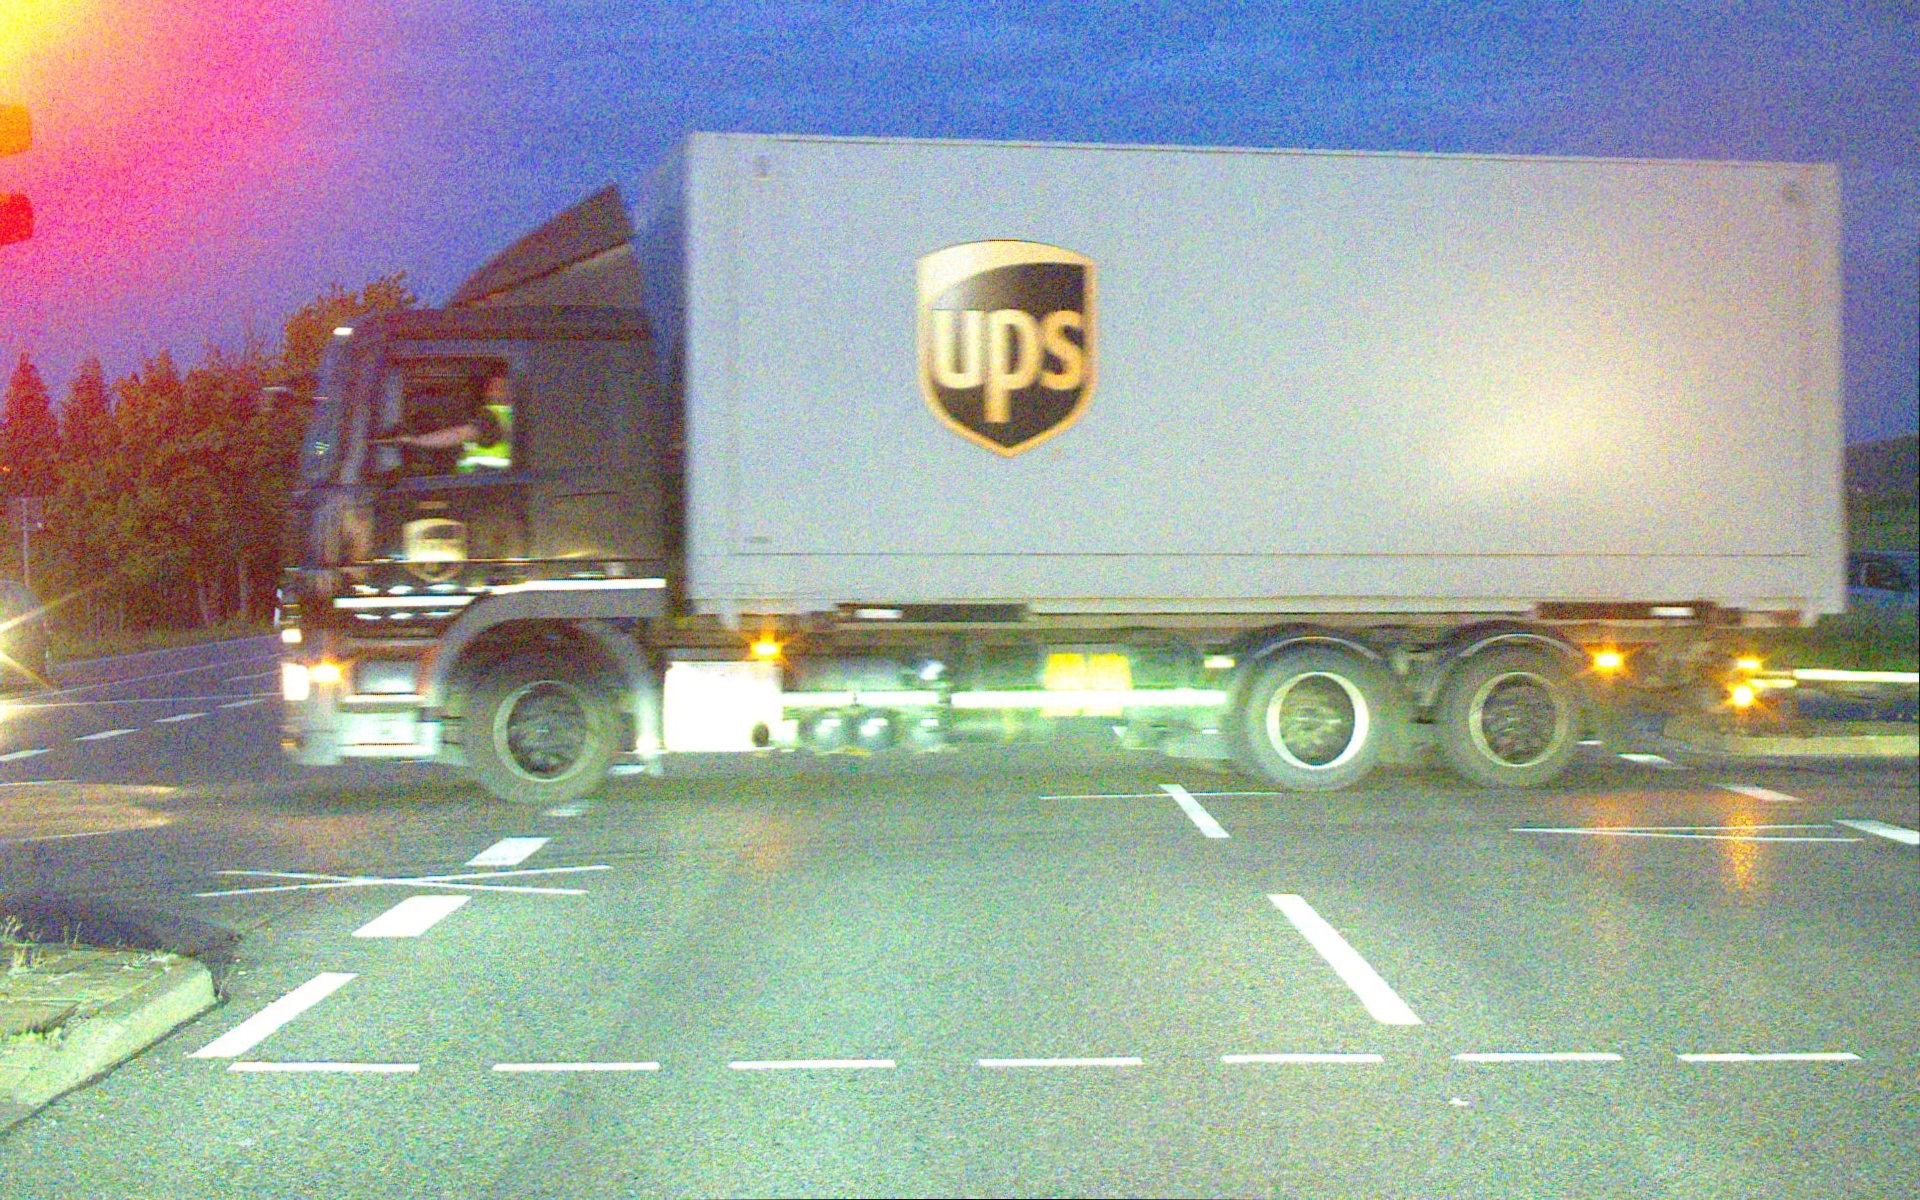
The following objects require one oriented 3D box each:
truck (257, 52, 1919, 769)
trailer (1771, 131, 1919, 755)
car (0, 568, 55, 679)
[{"bbox_3d":[0.770,-1.145,22.068,10.309,4.103,2.735,-1,1,-12],"label":"truck"},{"bbox_3d":[10.285,-1.149,23.317,8.846,3.929,2.586,-2,1,-5],"label":"trailer"},{"bbox_3d":[-13.114,0.375,44.773,1.628,1.372,3.589,-5,2,0],"label":"car"}]
